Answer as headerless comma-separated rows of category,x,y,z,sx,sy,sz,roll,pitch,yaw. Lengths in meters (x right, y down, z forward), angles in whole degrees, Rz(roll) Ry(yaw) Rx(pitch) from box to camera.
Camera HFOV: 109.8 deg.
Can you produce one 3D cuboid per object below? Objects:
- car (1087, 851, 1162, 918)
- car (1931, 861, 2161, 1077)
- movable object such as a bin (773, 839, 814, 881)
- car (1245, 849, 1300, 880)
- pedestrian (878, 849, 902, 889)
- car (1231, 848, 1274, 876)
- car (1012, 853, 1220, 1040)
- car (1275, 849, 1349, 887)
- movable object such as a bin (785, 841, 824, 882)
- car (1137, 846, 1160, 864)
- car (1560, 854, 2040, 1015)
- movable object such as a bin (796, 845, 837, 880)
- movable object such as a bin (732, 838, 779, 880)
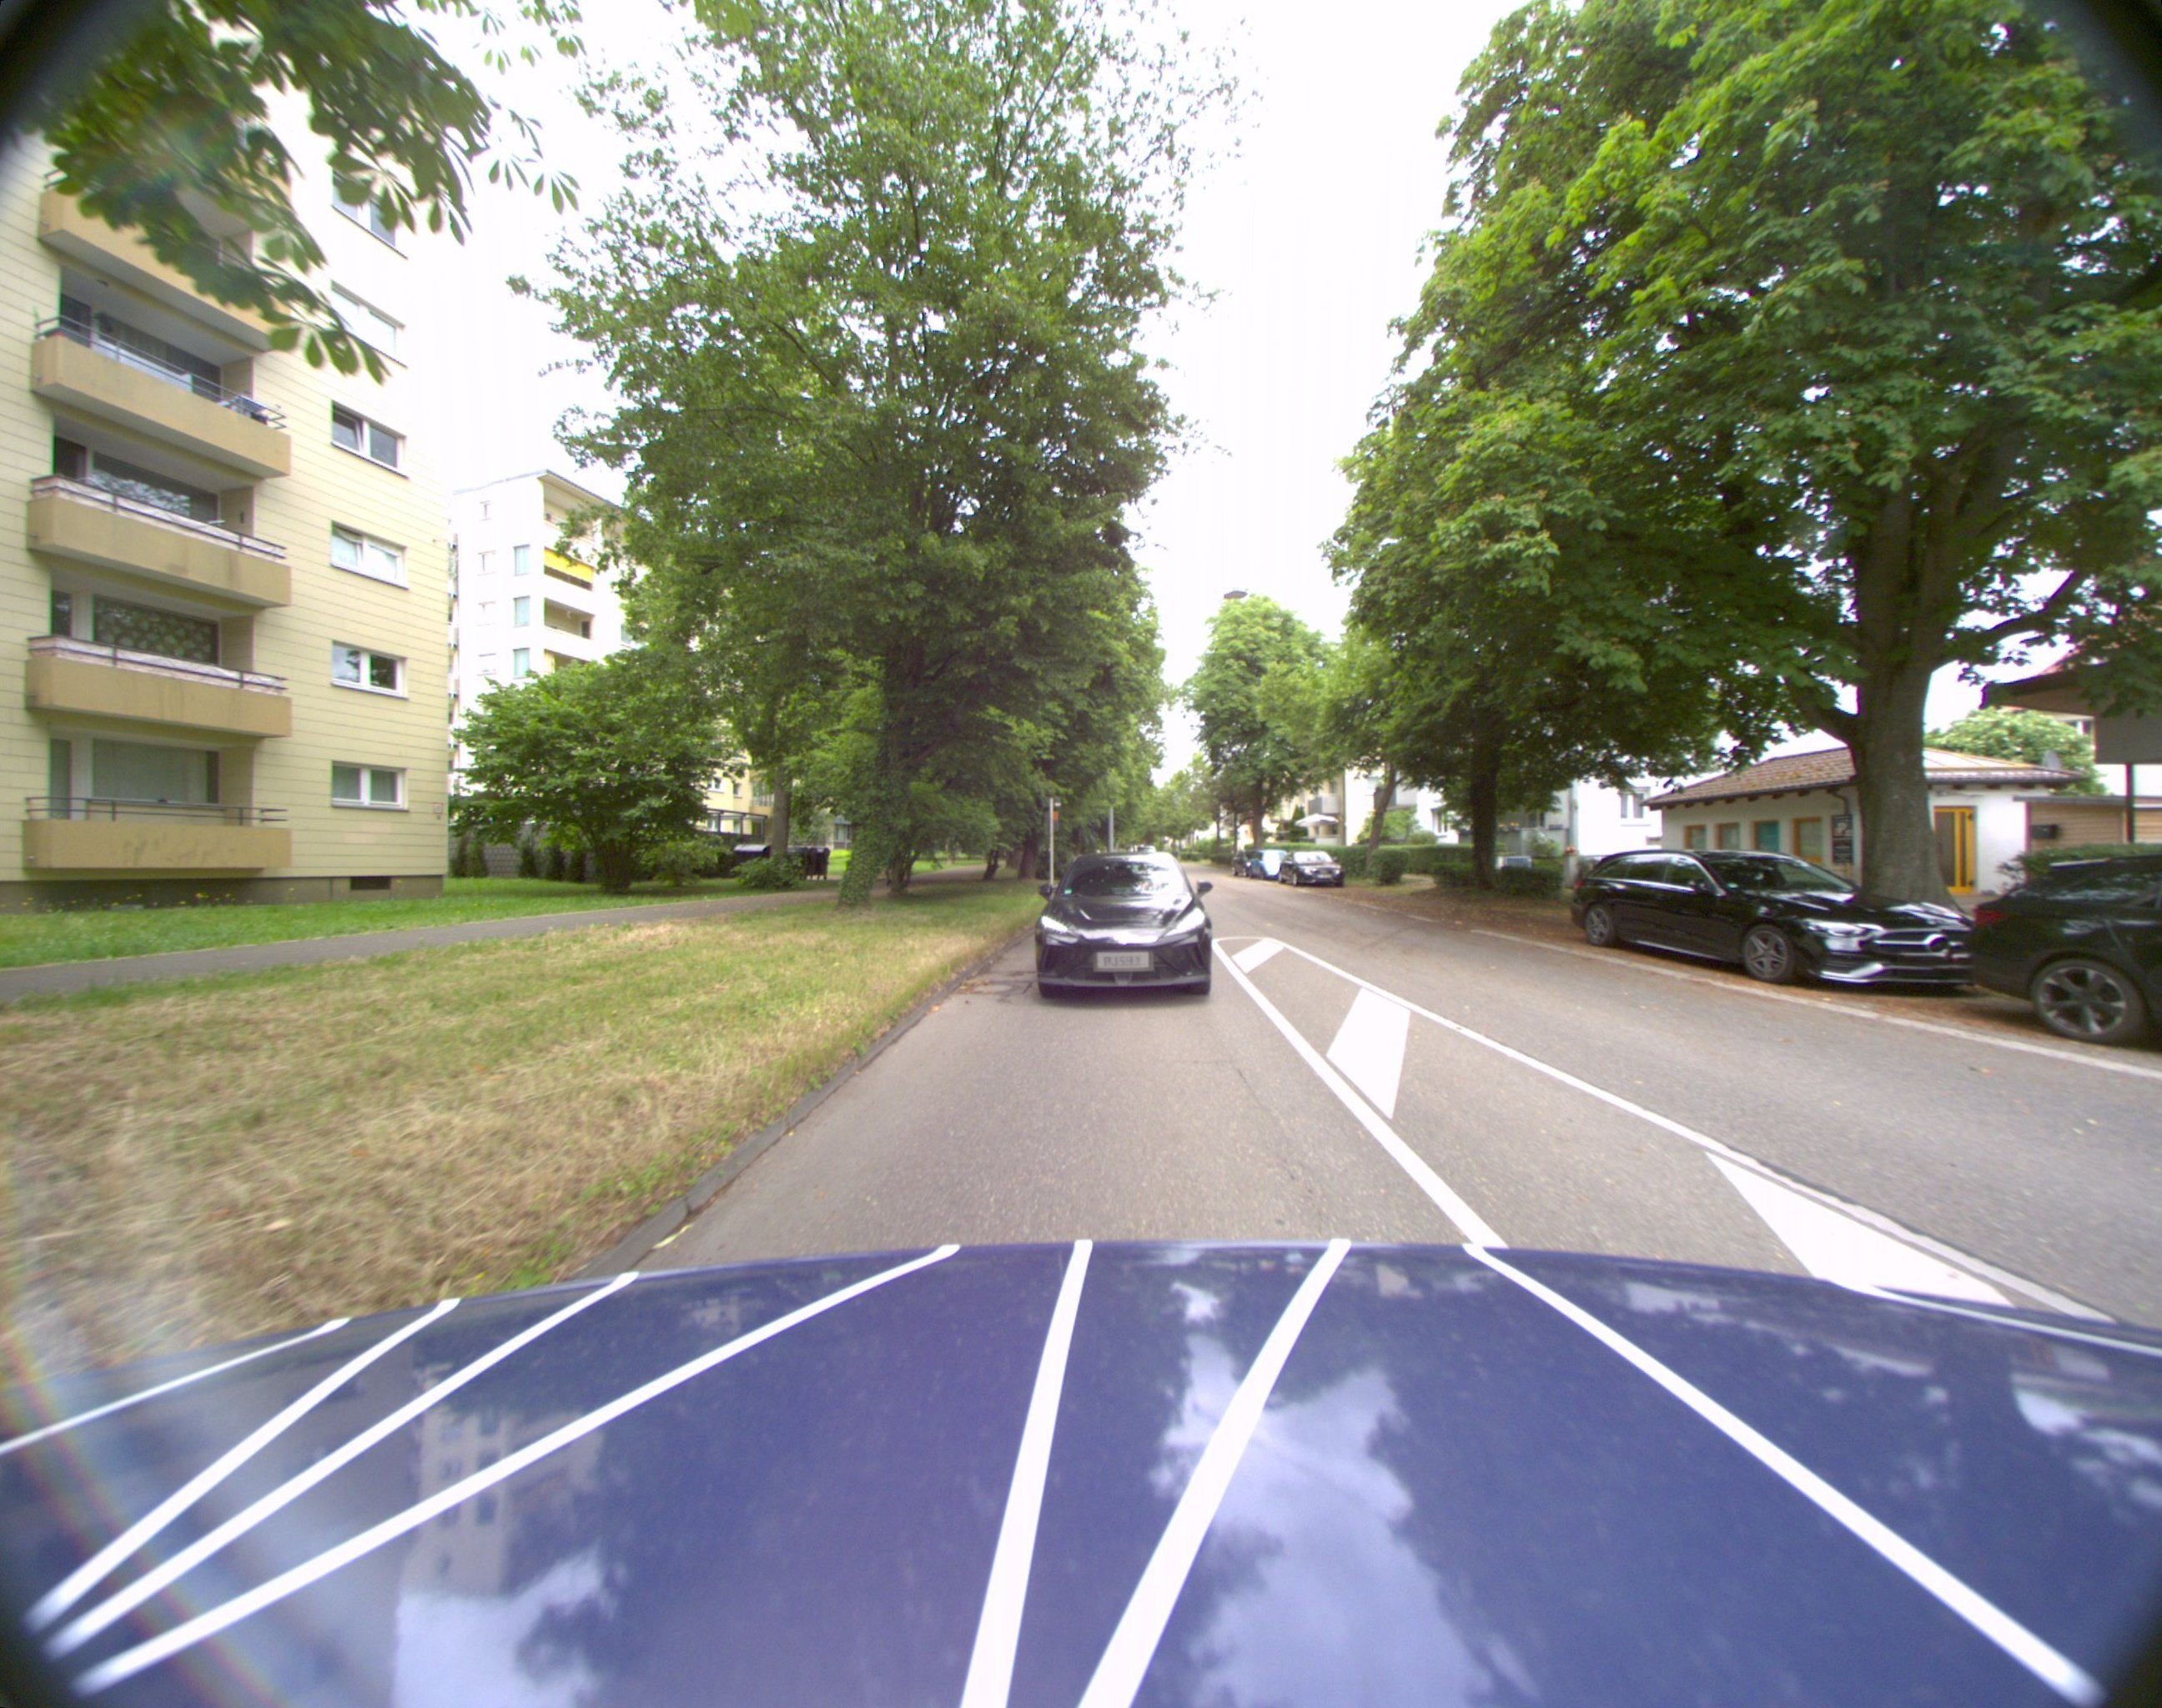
car,1.200,0.723,20.397,1.814,1.521,4.000,0,2,4
car,8.246,0.815,4.351,1.749,1.442,4.513,0,1,2
movable object such as a bin,-11.551,0.230,30.571,1.277,1.633,1.020,1,2,-1
car,8.982,0.449,35.893,1.637,1.368,4.152,0,0,1
pedestrian,-6.808,0.530,27.078,0.689,1.373,0.606,0,2,0
car,9.023,0.399,40.172,1.540,1.368,3.772,0,0,1
car,0.535,0.811,8.809,1.803,1.542,4.299,-1,1,6
car,9.037,0.507,30.068,1.851,1.368,4.595,0,0,5
movable object such as a bin,-11.551,0.292,31.809,1.239,1.633,1.075,1,2,-1
car,6.039,0.094,68.392,1.998,1.586,4.001,0,1,4
car,8.187,0.752,9.439,1.749,1.442,4.593,0,1,3
movable object such as a bin,-11.476,0.353,33.026,1.328,1.466,1.201,1,2,-1
movable object such as a bin,-13.079,0.191,30.571,1.435,1.633,1.020,1,2,-1
